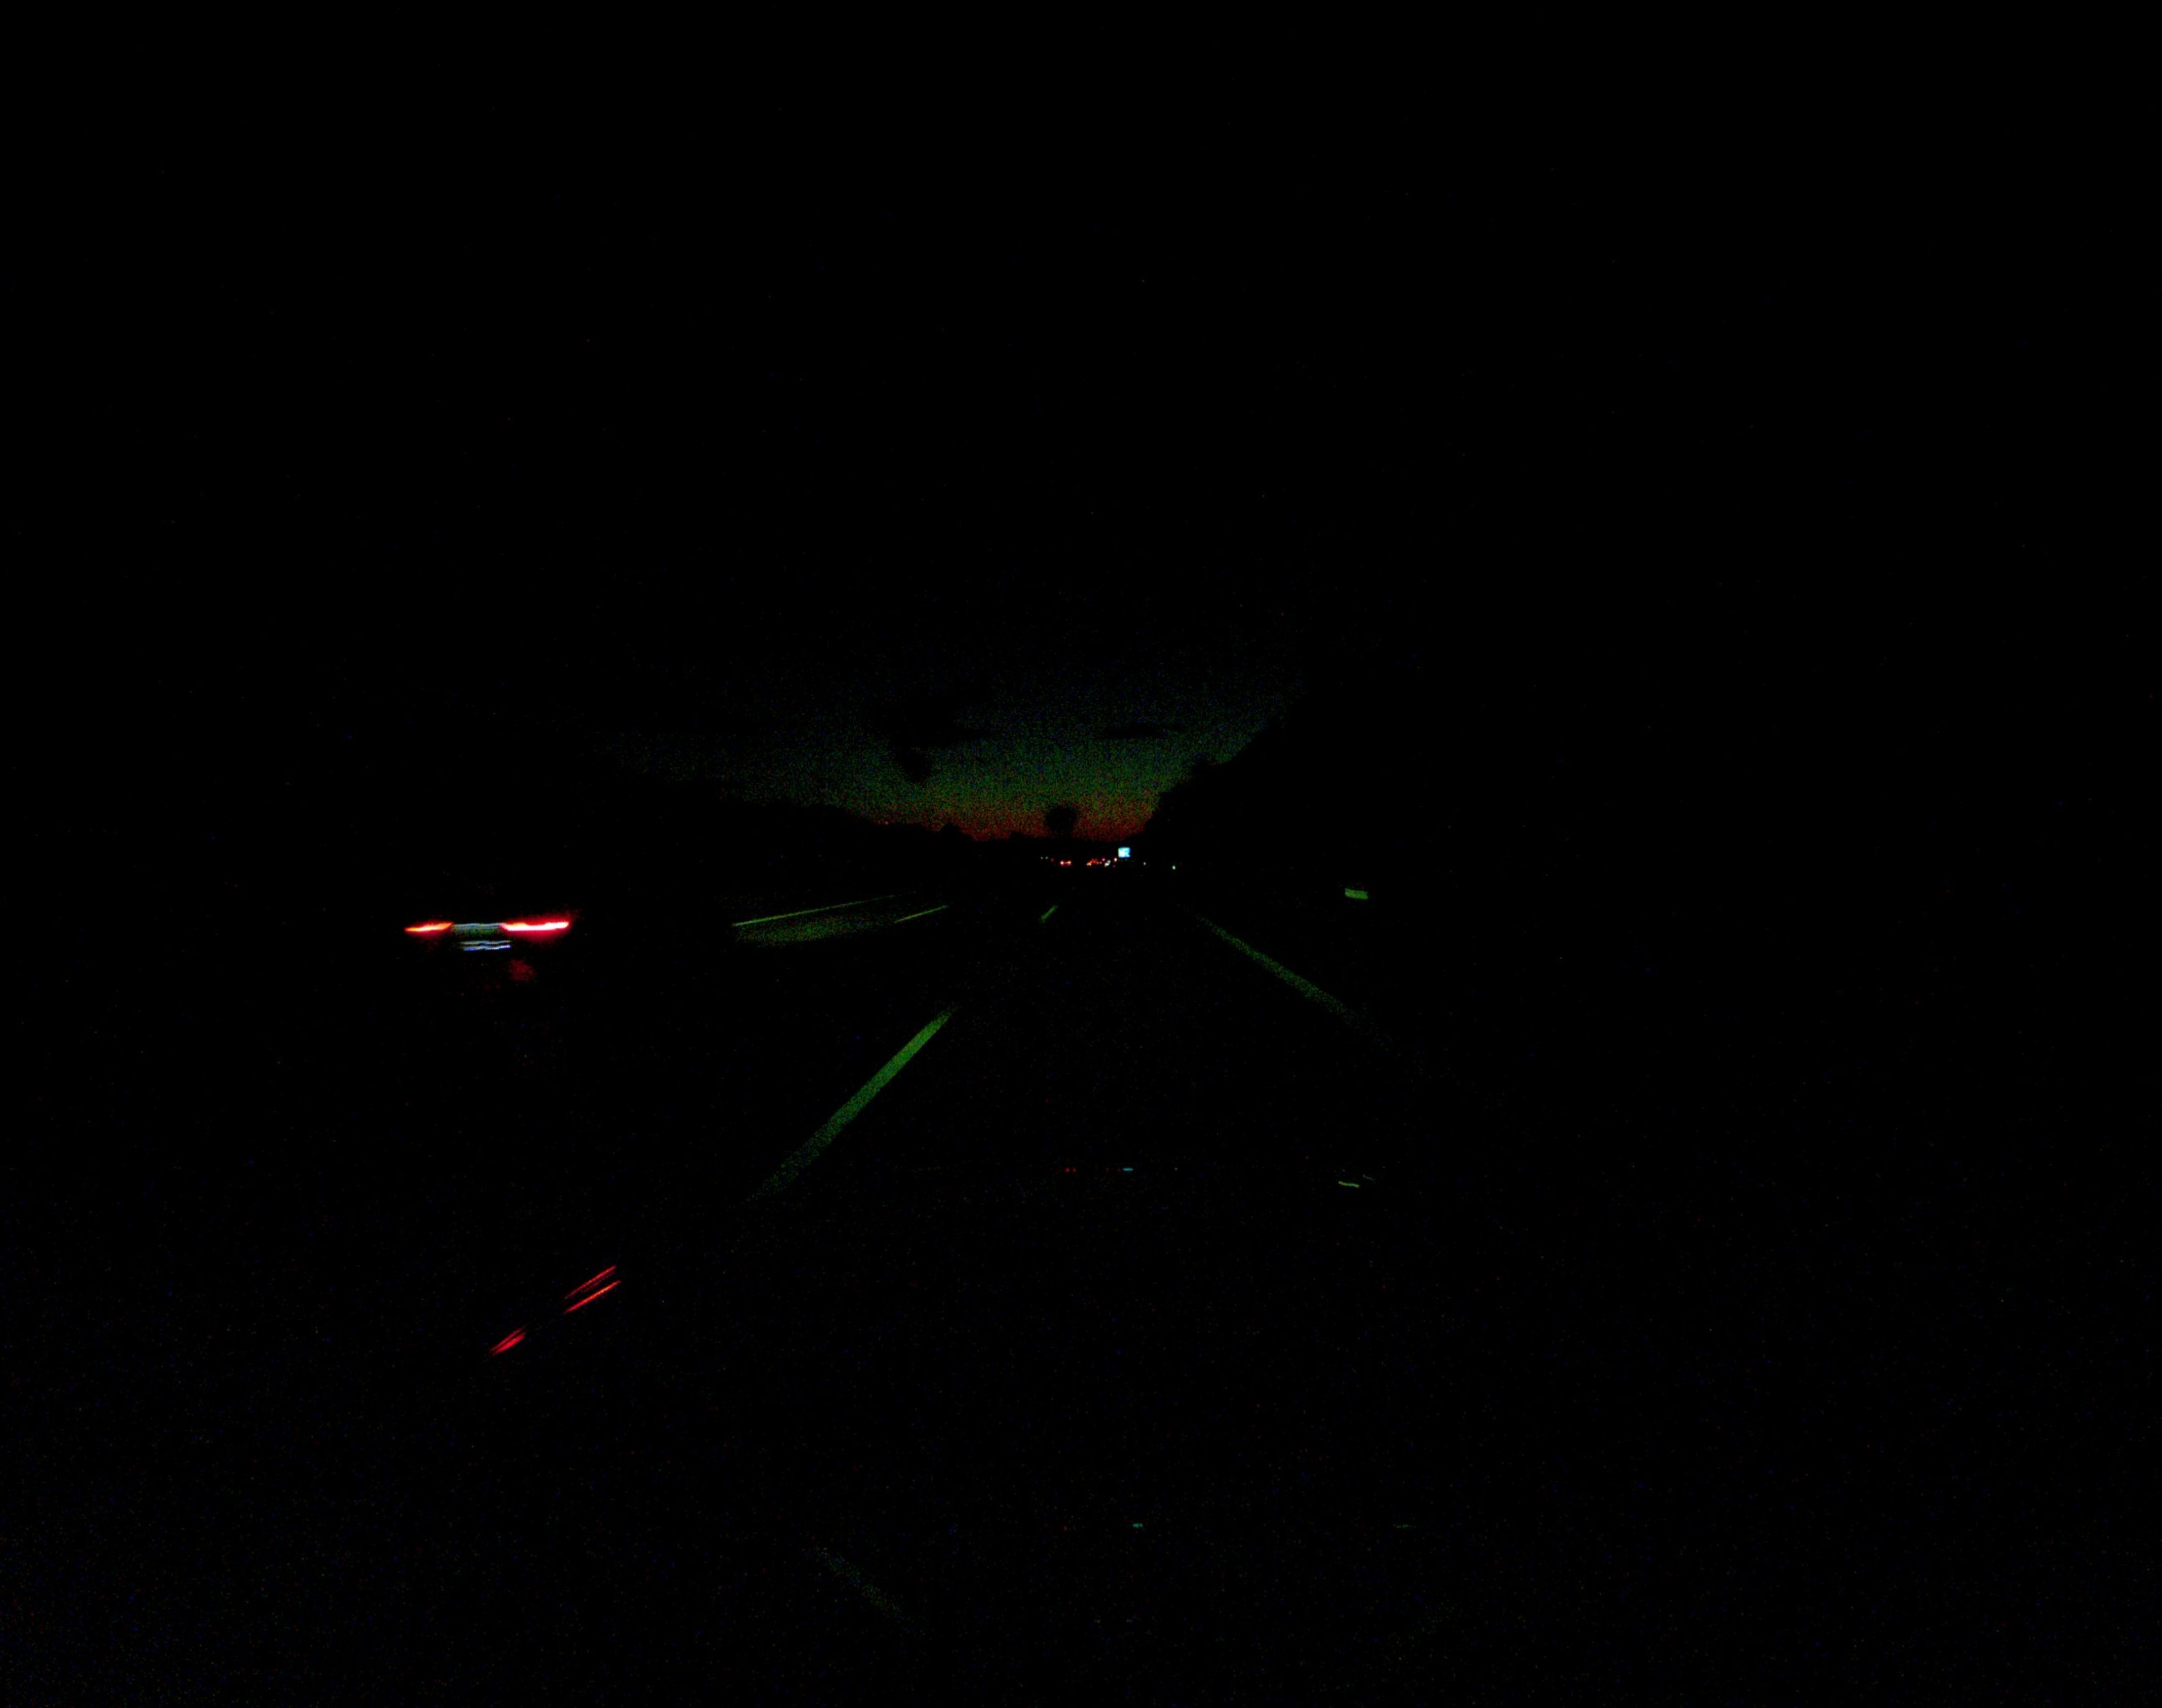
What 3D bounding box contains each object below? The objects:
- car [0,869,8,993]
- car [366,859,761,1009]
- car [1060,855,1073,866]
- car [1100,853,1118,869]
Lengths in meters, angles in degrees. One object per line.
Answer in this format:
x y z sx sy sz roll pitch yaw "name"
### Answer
-18.795 1.263 10.450 2.325 2.013 5.745 -1 0 2 "car"
-6.292 0.828 10.891 1.773 1.487 5.255 -1 0 2 "car"
-2.602 1.180 146.397 2.188 1.955 4.635 -1 0 2 "car"
3.710 0.939 109.273 2.189 1.955 4.764 -4 0 1 "car"
